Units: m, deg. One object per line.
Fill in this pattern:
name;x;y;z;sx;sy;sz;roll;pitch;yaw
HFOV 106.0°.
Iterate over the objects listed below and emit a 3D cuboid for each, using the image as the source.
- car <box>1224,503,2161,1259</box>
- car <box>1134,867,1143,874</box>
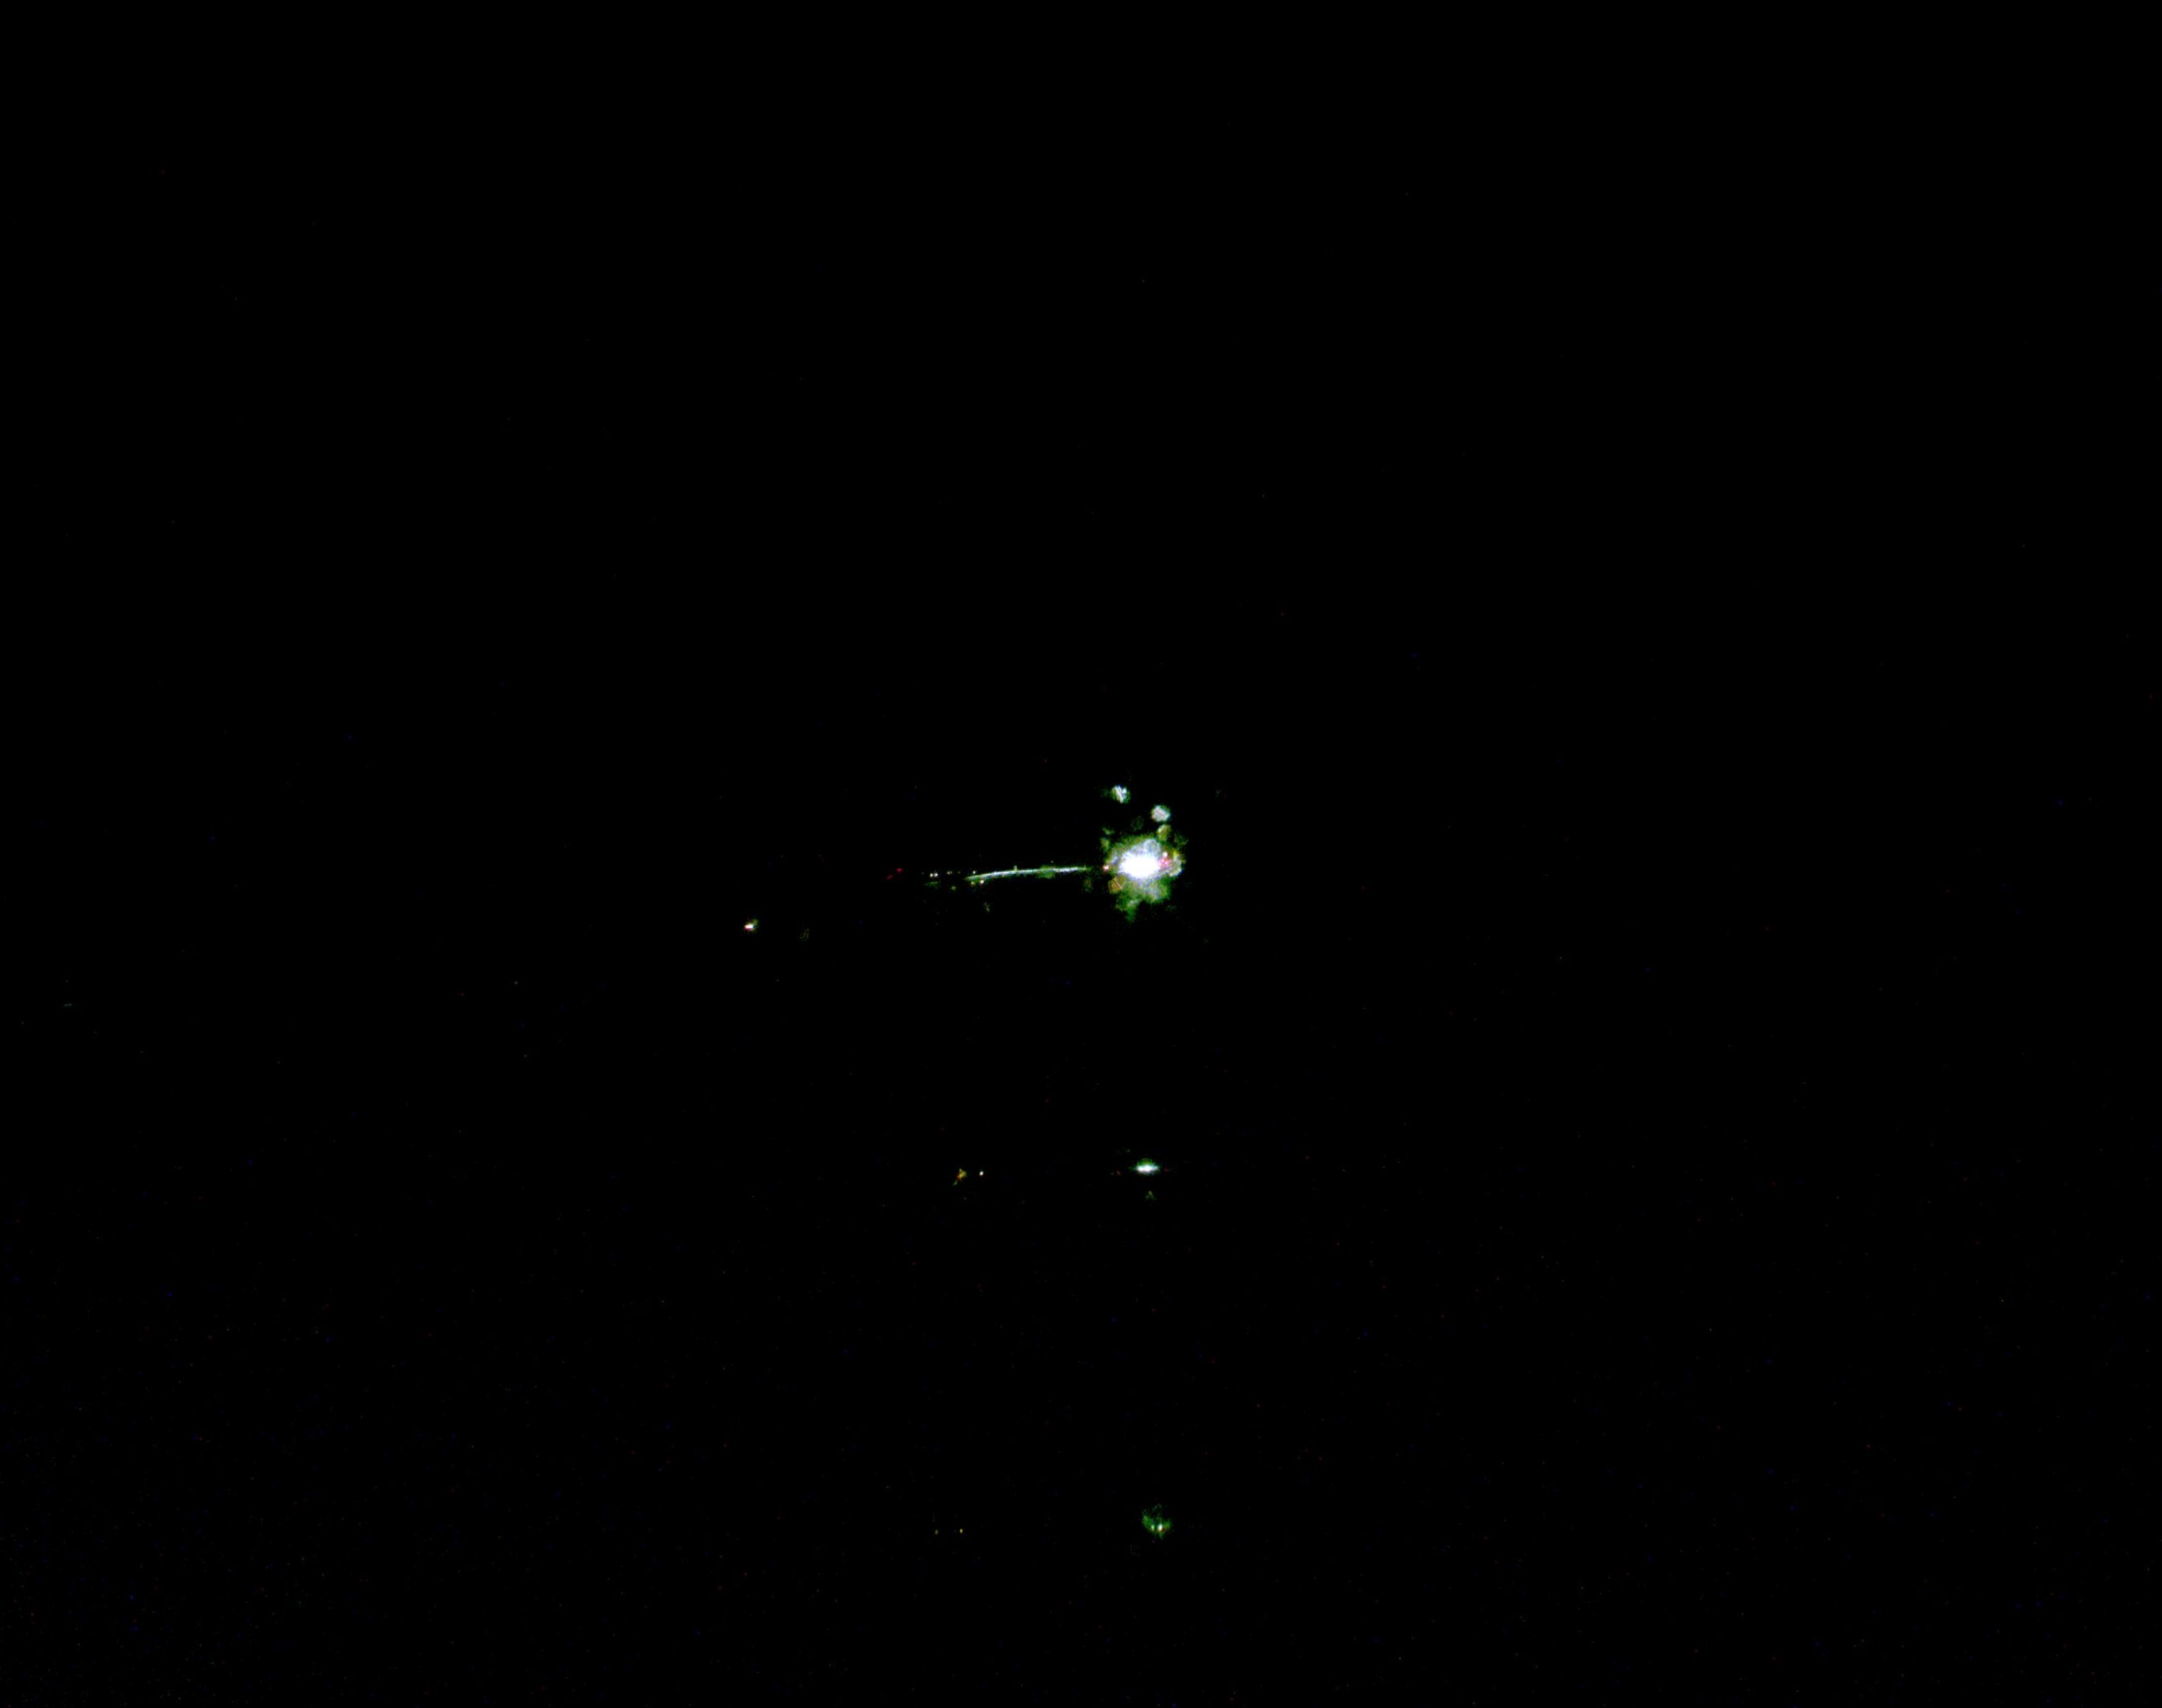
car;2.162;0.153;4.278;2.189;2.014;4.207;0;-3;2
car;11.939;3.359;167.890;1.731;1.402;3.867;-1;-1;6
